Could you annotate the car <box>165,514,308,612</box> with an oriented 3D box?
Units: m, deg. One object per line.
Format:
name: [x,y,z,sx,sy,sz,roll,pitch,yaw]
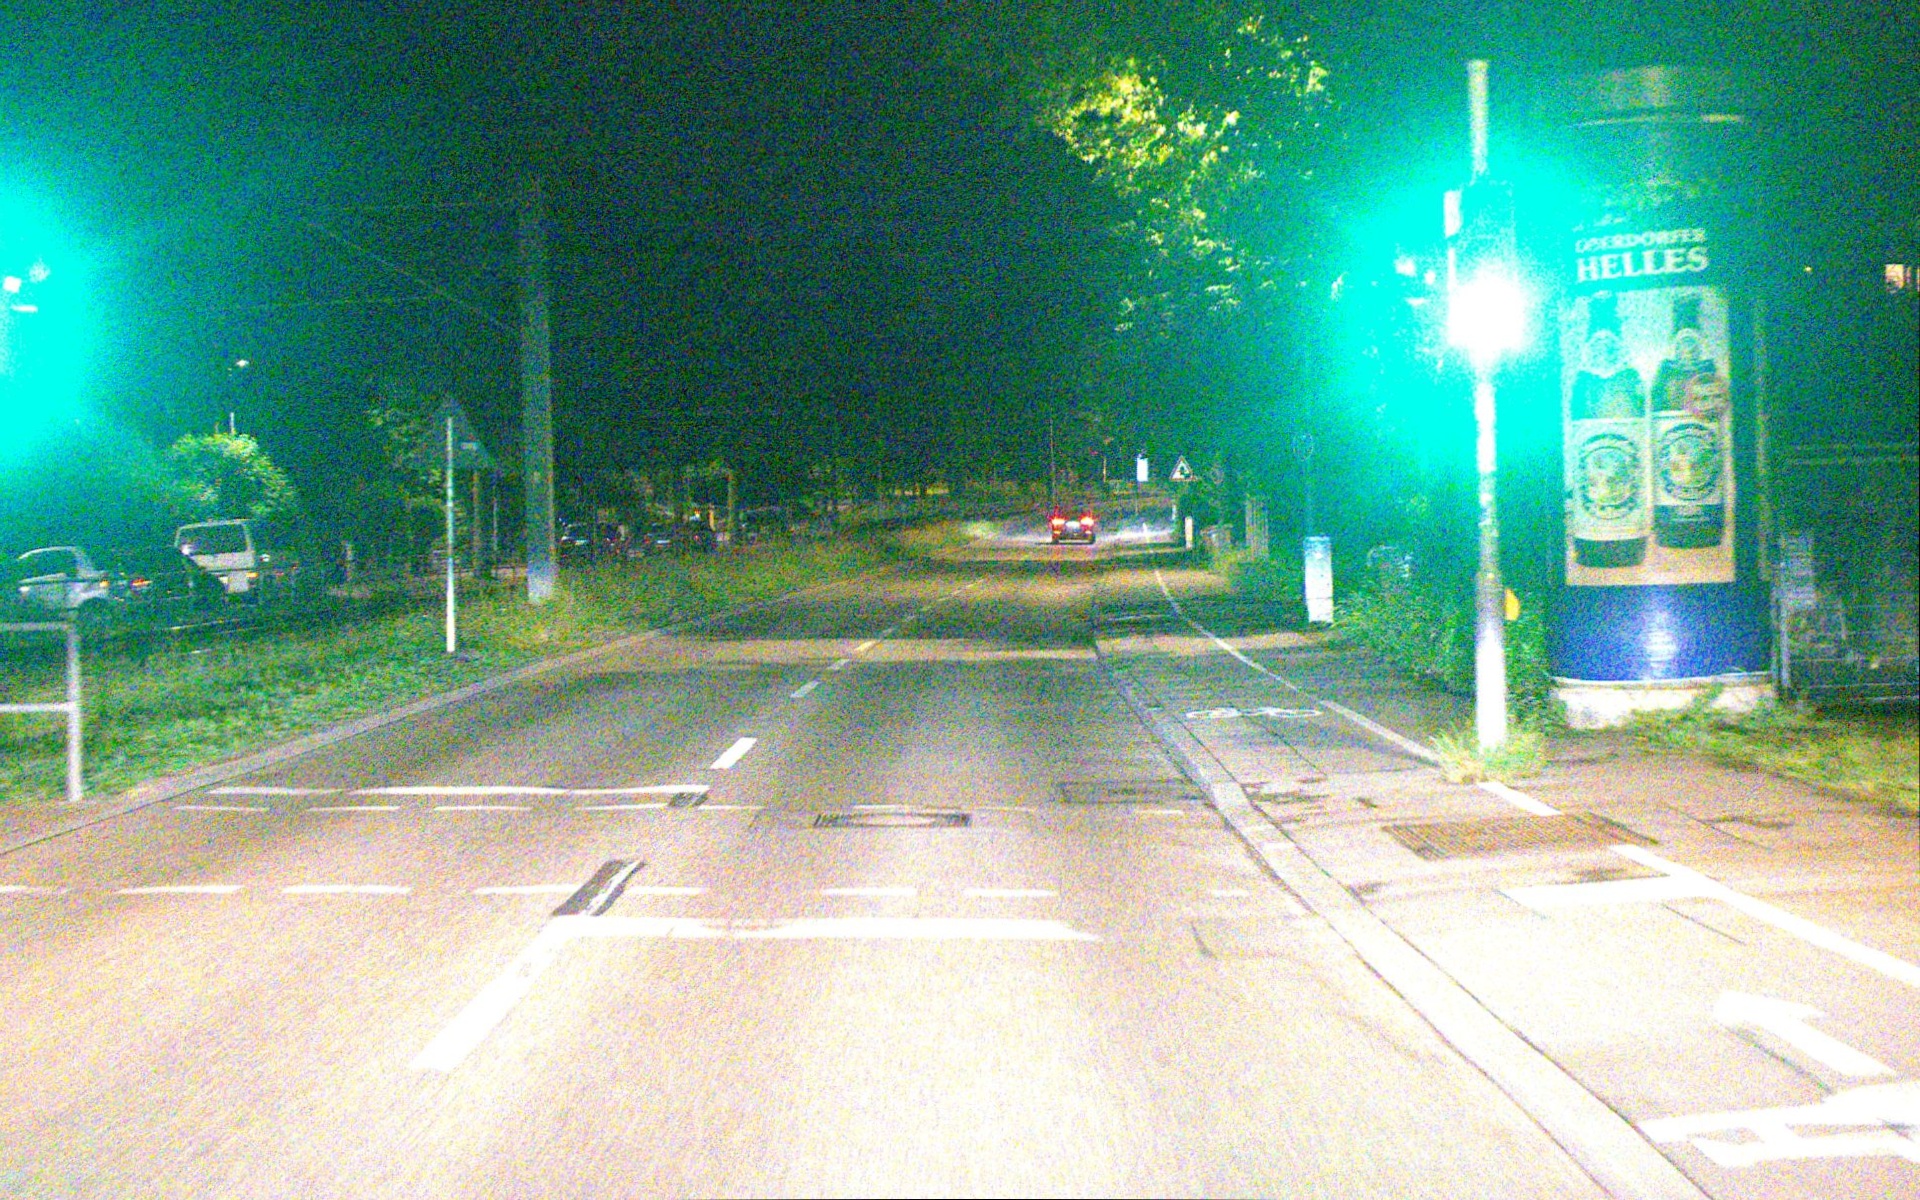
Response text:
car: [-14.637,-0.781,69.798,1.857,1.897,4.880,-1,1,0]

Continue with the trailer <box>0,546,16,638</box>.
trailer: [-15.761,0.024,49.634,2.420,1.370,4.654,-5,1,7]

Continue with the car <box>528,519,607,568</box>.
car: [-13.456,-1.951,117.970,1.993,1.622,4.677,-1,1,2]

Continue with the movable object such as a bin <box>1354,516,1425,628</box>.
movable object such as a bin: [4.668,-0.308,37.335,0.724,1.196,0.719,-1,1,9]

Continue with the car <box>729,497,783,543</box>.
car: [-9.970,-3.916,168.203,2.092,2.006,4.000,-5,2,2]

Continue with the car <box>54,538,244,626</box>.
car: [-14.964,-0.363,63.733,1.902,1.517,5.171,-1,1,5]

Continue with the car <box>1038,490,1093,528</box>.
car: [4.500,-3.890,147.083,2.161,1.577,4.014,0,1,-1]

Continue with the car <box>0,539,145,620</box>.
car: [-15.497,-0.347,58.244,3.028,1.321,1.534,-1,1,-2]

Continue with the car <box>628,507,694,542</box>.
car: [-11.951,-3.045,137.740,1.993,1.333,5.432,-1,1,2]
